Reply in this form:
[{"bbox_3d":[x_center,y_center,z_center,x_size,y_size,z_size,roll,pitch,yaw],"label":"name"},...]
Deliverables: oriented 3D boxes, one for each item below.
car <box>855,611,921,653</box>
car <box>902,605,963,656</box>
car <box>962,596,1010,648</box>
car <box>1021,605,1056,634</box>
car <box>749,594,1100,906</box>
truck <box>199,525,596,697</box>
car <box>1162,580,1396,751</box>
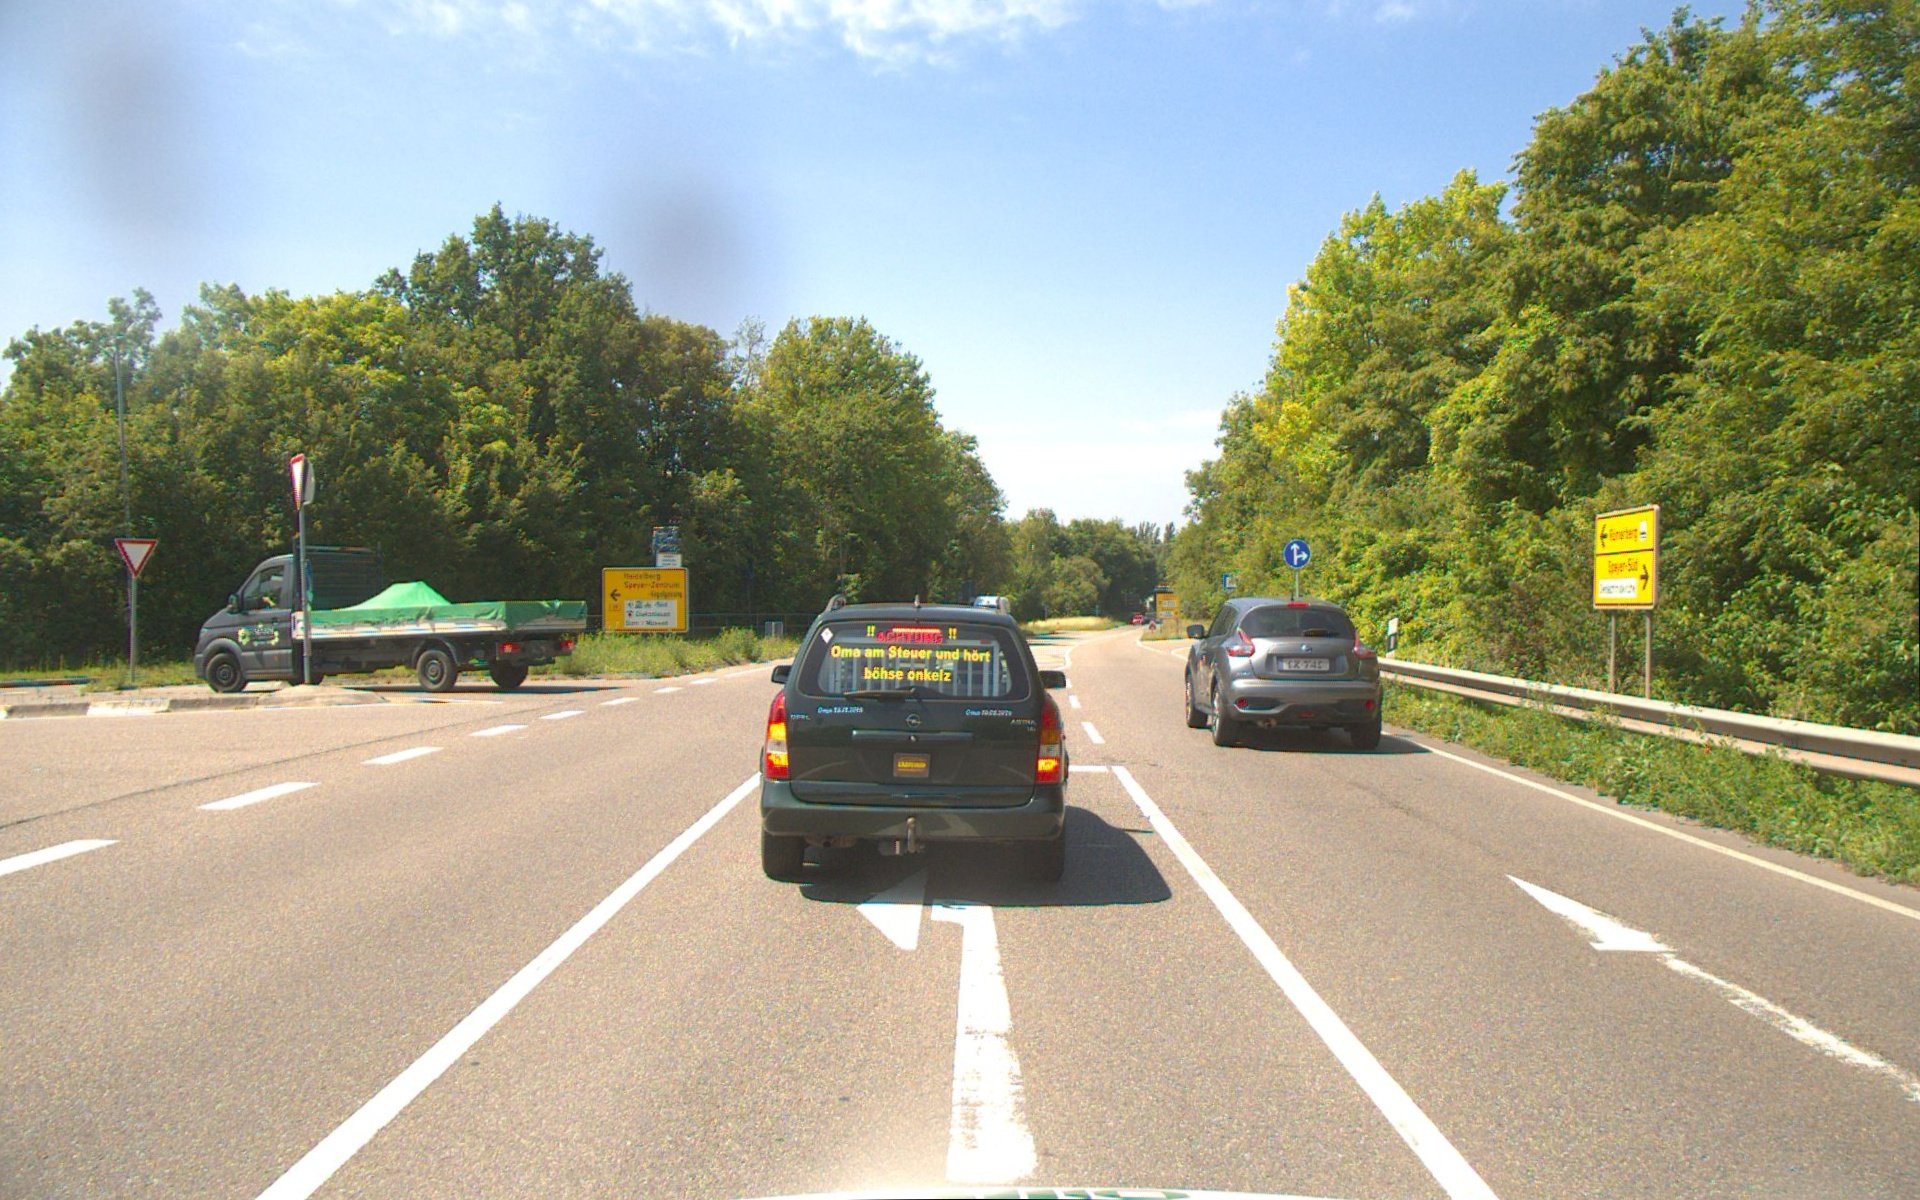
[{"bbox_3d":[-3.052,1.342,70.630,1.636,1.691,4.003,0,0,16],"label":"car"},{"bbox_3d":[-0.795,0.896,49.430,1.610,1.443,3.767,1,0,2],"label":"car"},{"bbox_3d":[1.556,1.237,95.253,2.060,2.900,6.016,1,0,7],"label":"car"},{"bbox_3d":[8.946,2.254,189.590,1.970,3.282,4.767,0,0,-27],"label":"car"},{"bbox_3d":[-0.171,0.719,9.918,1.685,1.482,3.797,1,0,0],"label":"car"},{"bbox_3d":[-9.347,0.200,27.372,6.483,2.610,2.145,-1,-1,24],"label":"truck"},{"bbox_3d":[3.466,0.647,18.670,1.806,1.714,3.999,0,0,-1],"label":"car"}]
